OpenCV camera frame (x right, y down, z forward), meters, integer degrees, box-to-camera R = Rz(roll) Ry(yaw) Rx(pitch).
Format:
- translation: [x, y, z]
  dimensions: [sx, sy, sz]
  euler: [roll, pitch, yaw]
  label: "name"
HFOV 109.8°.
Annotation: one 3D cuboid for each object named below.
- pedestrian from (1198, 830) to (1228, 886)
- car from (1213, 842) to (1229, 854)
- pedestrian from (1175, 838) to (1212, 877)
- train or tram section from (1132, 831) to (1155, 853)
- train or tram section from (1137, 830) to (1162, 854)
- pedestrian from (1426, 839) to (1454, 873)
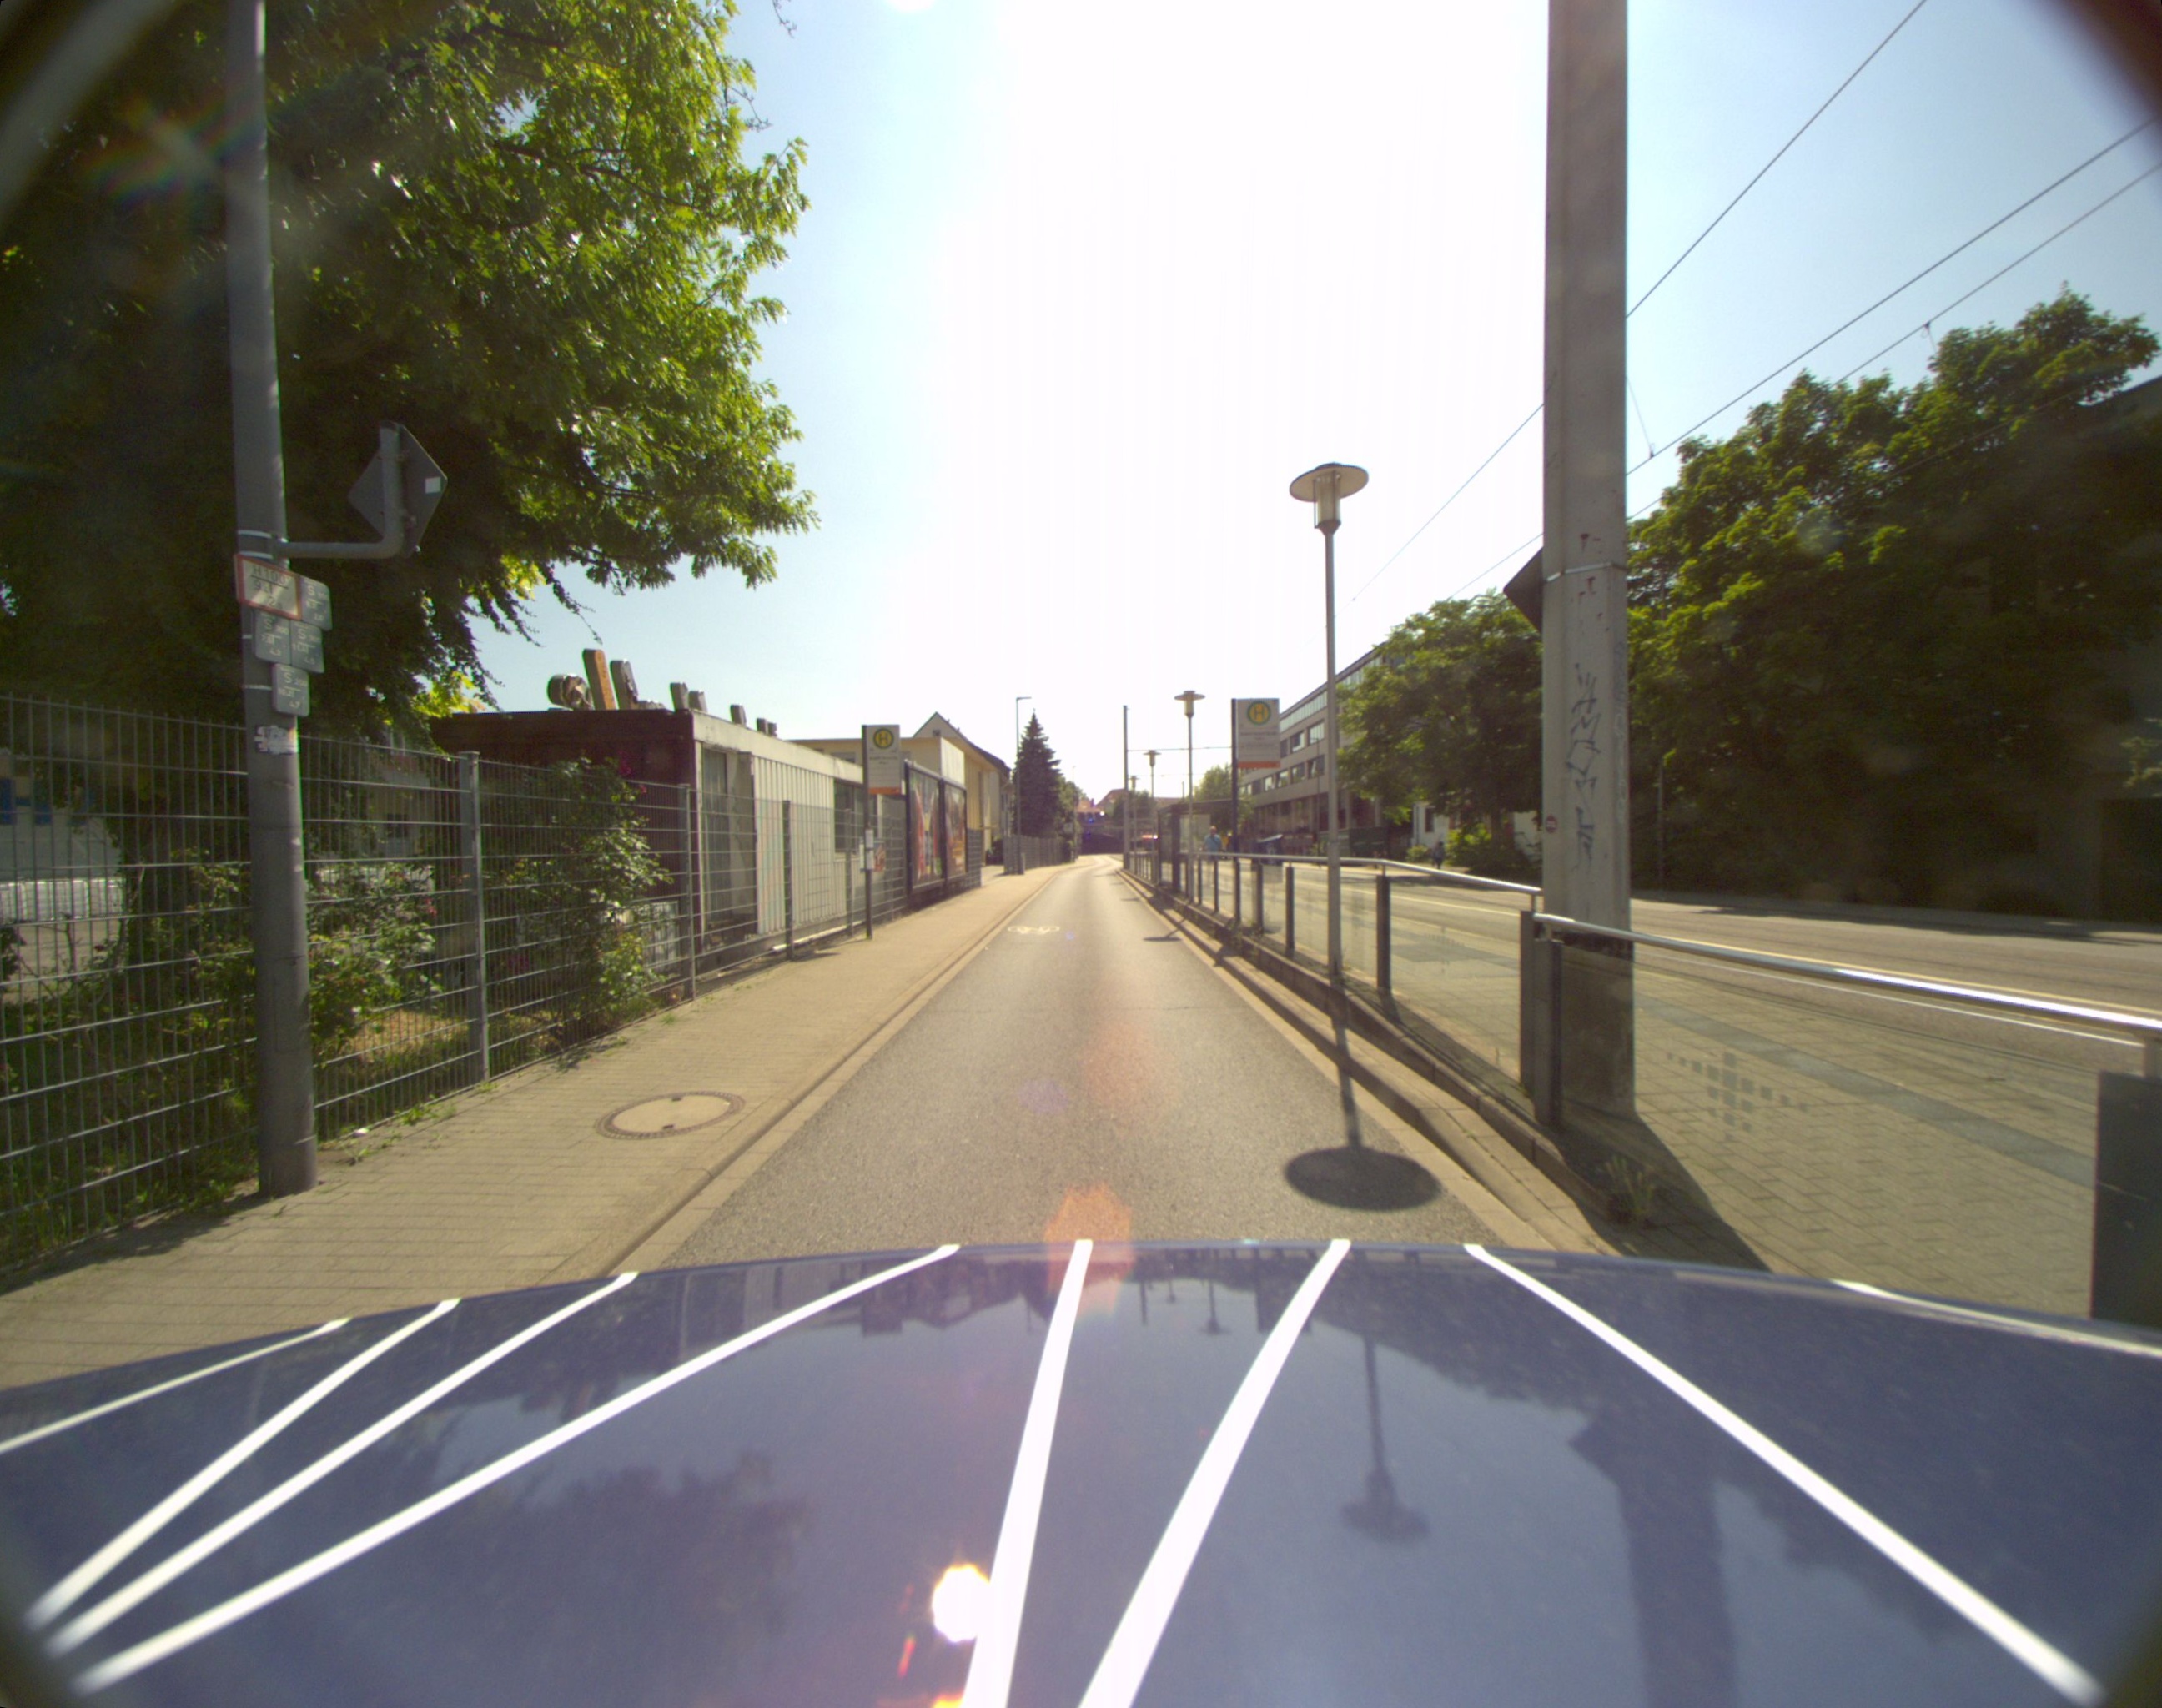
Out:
- translation: [4.130, 0.114, 23.851]
  dimensions: [0.725, 1.715, 0.944]
  euler: [-2, 1, 1]
  label: "pedestrian"
- translation: [19.974, -0.839, 108.519]
  dimensions: [1.997, 1.613, 4.002]
  euler: [0, 1, 8]
  label: "car"
- translation: [3.309, 0.106, 22.362]
  dimensions: [0.945, 1.093, 0.726]
  euler: [-2, 1, 0]
  label: "pedestrian"
- translation: [10.471, -1.950, 128.464]
  dimensions: [2.680, 3.464, 13.388]
  euler: [-1, 1, 0]
  label: "train or tram section"
- translation: [10.288, -1.831, 115.624]
  dimensions: [2.680, 3.464, 12.326]
  euler: [-1, 1, 0]
  label: "train or tram section"
- translation: [16.288, 0.098, 34.518]
  dimensions: [0.873, 1.518, 0.846]
  euler: [-1, 1, 0]
  label: "pedestrian"
